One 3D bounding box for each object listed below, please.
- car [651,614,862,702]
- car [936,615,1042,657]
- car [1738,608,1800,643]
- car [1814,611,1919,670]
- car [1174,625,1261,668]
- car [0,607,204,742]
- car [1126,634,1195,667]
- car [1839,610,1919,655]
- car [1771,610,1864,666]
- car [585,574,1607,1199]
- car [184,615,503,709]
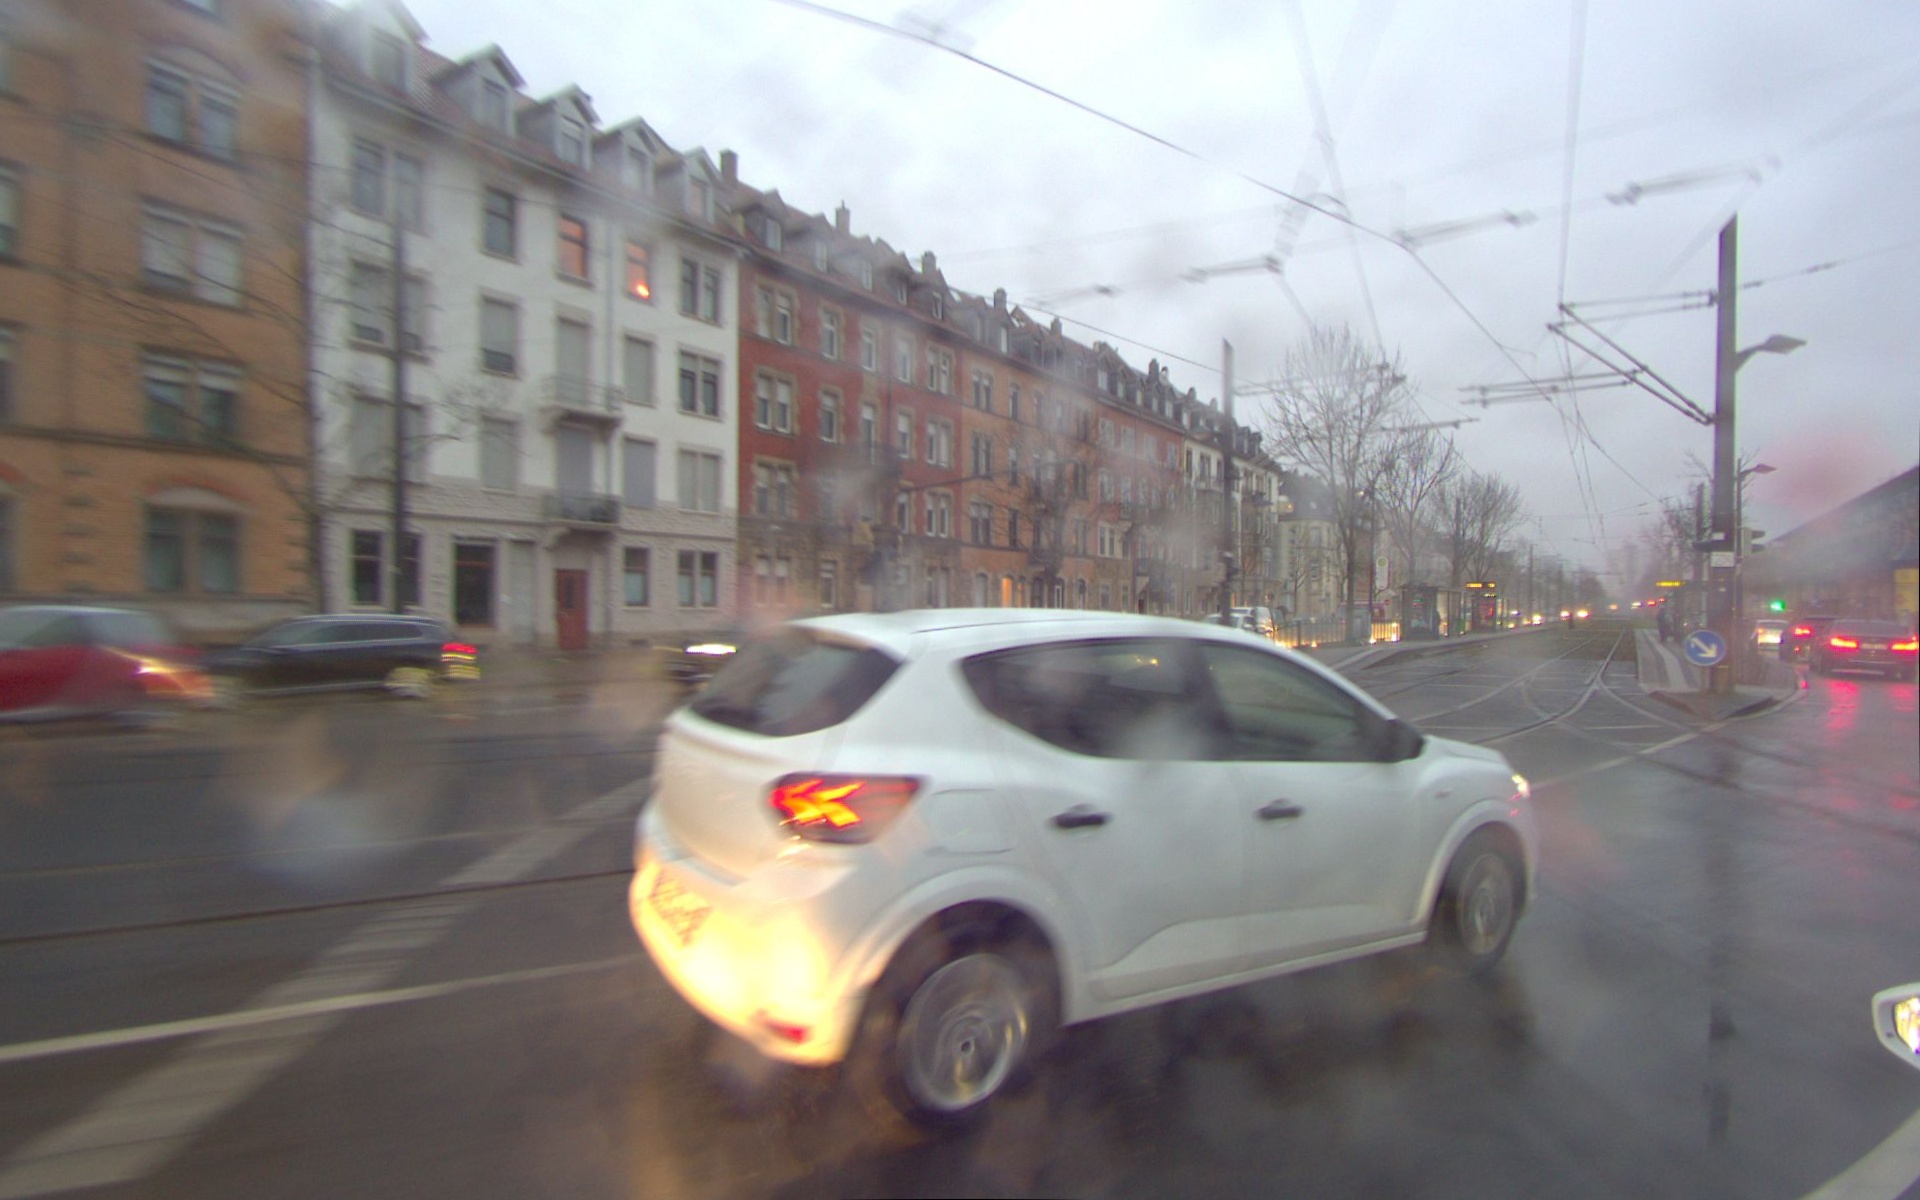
[{"bbox_3d":[-3.971,1.073,20.207,1.659,1.573,4.105,0,-1,38],"label":"car"},{"bbox_3d":[1.007,1.115,32.492,1.516,1.243,4.075,-1,-1,34],"label":"car"},{"bbox_3d":[39.398,1.210,48.993,1.966,1.639,3.989,-1,-1,33],"label":"car"},{"bbox_3d":[23.813,1.002,26.109,1.966,1.416,3.989,-1,-1,33],"label":"car"},{"bbox_3d":[8.463,1.463,32.783,1.515,1.262,4.076,-1,-1,33],"label":"car"},{"bbox_3d":[-11.038,0.834,11.910,1.471,1.506,3.134,0,-1,44],"label":"car"},{"bbox_3d":[8.650,2.124,43.164,1.515,1.243,4.076,-1,-1,33],"label":"car"},{"bbox_3d":[36.240,1.232,39.510,1.966,1.639,3.989,-1,-1,33],"label":"car"},{"bbox_3d":[29.316,1.235,34.460,1.966,1.789,3.988,-1,-1,34],"label":"car"},{"bbox_3d":[0.697,0.689,4.065,3.952,1.507,1.619,0,0,-30],"label":"car"},{"bbox_3d":[-10.353,0.955,17.165,1.660,1.372,4.367,0,-1,40],"label":"car"}]
